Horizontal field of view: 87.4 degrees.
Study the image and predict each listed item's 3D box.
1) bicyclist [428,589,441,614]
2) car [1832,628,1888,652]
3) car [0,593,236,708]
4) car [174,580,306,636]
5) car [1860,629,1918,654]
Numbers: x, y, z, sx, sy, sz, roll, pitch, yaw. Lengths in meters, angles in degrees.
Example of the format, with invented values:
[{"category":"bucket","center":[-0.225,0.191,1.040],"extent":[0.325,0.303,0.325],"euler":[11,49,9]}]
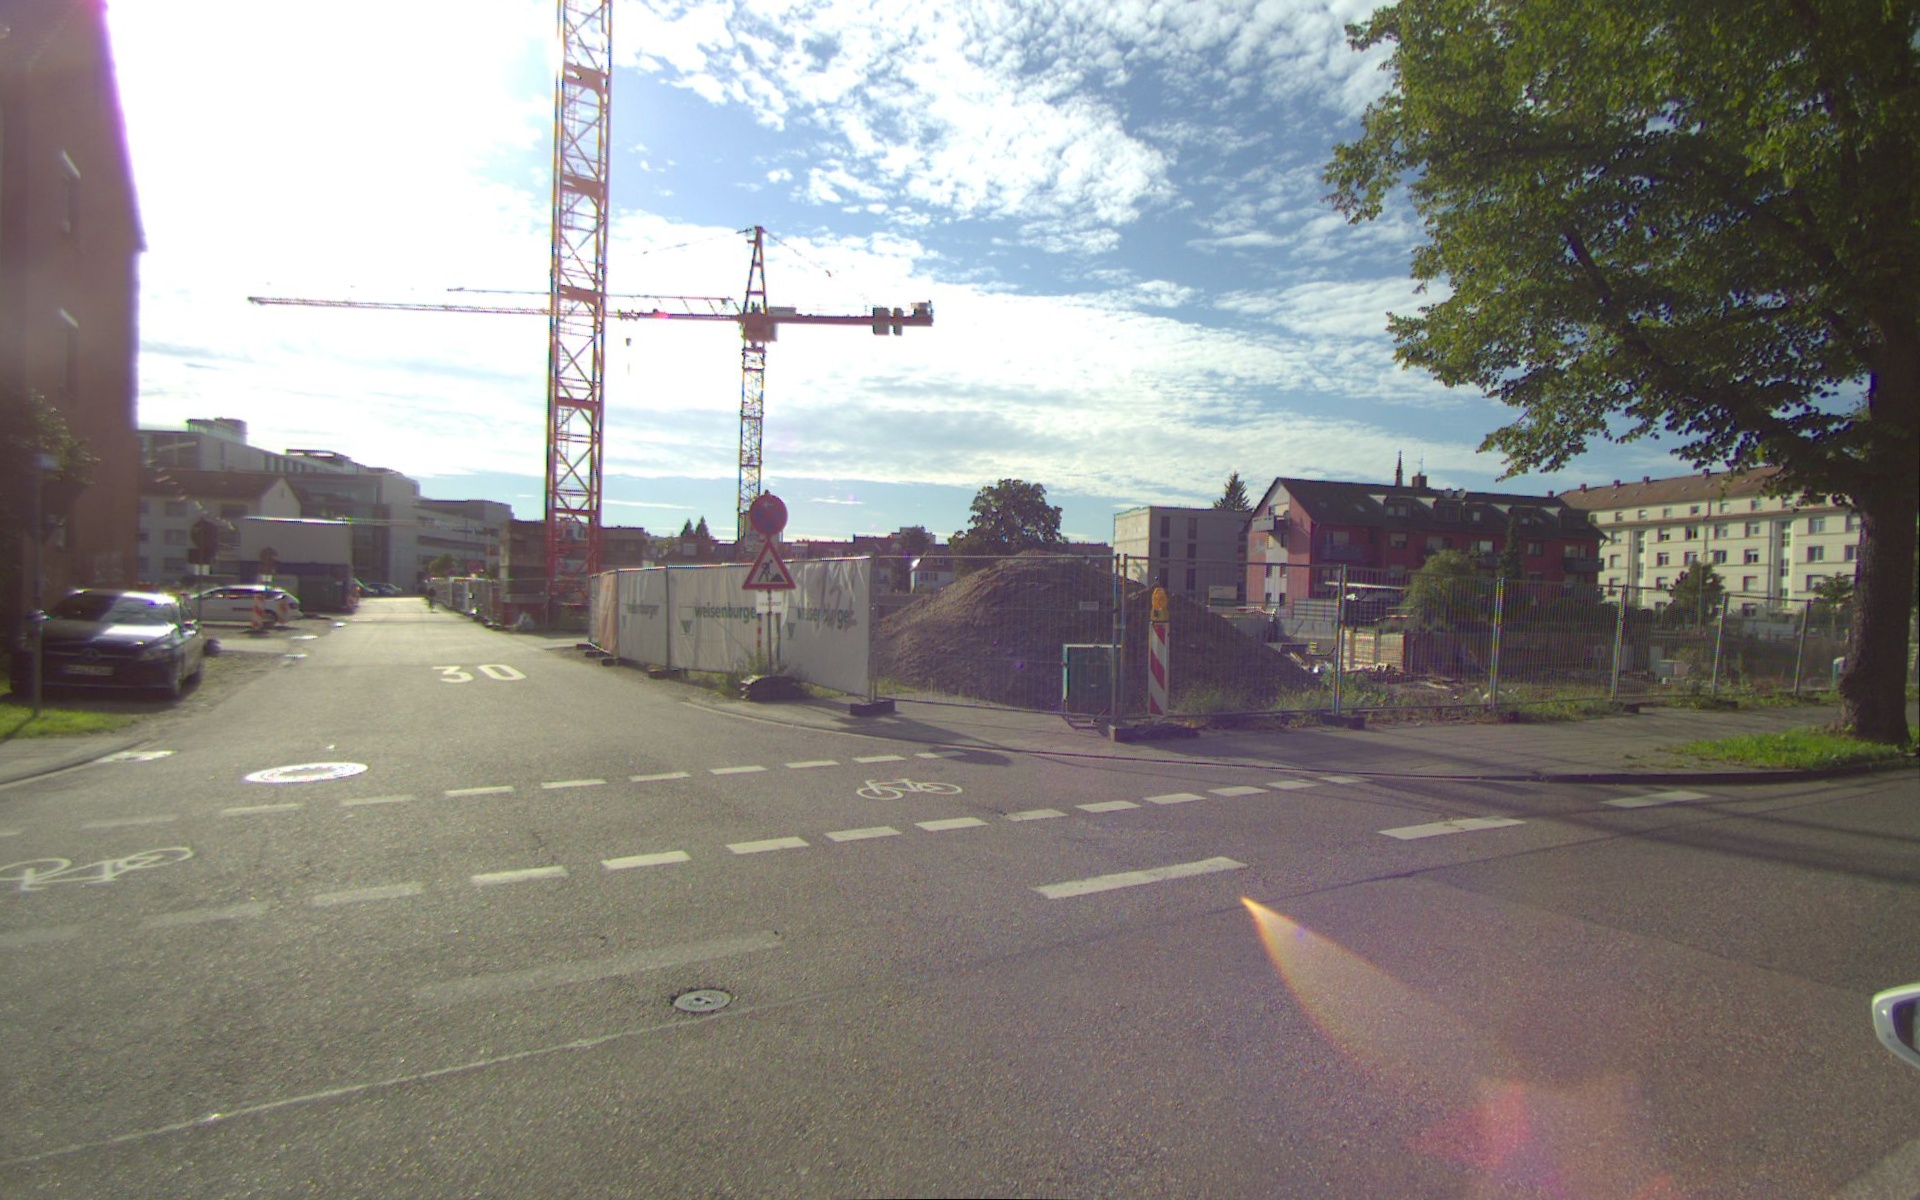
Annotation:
[{"category":"bicyclist","center":[-35.959,0.081,68.715],"extent":[0.731,1.683,1.120],"euler":[2,0,-31]},{"category":"car","center":[82.200,3.604,91.712],"extent":[3.934,2.040,1.993],"euler":[2,0,-16]},{"category":"car","center":[-12.335,0.675,14.841],"extent":[1.976,1.321,3.971],"euler":[7,-3,-27]},{"category":"car","center":[-27.380,0.315,38.311],"extent":[3.948,1.831,1.799],"euler":[4,0,-36]},{"category":"car","center":[82.473,3.677,89.192],"extent":[3.934,2.040,1.993],"euler":[2,0,-16]}]
